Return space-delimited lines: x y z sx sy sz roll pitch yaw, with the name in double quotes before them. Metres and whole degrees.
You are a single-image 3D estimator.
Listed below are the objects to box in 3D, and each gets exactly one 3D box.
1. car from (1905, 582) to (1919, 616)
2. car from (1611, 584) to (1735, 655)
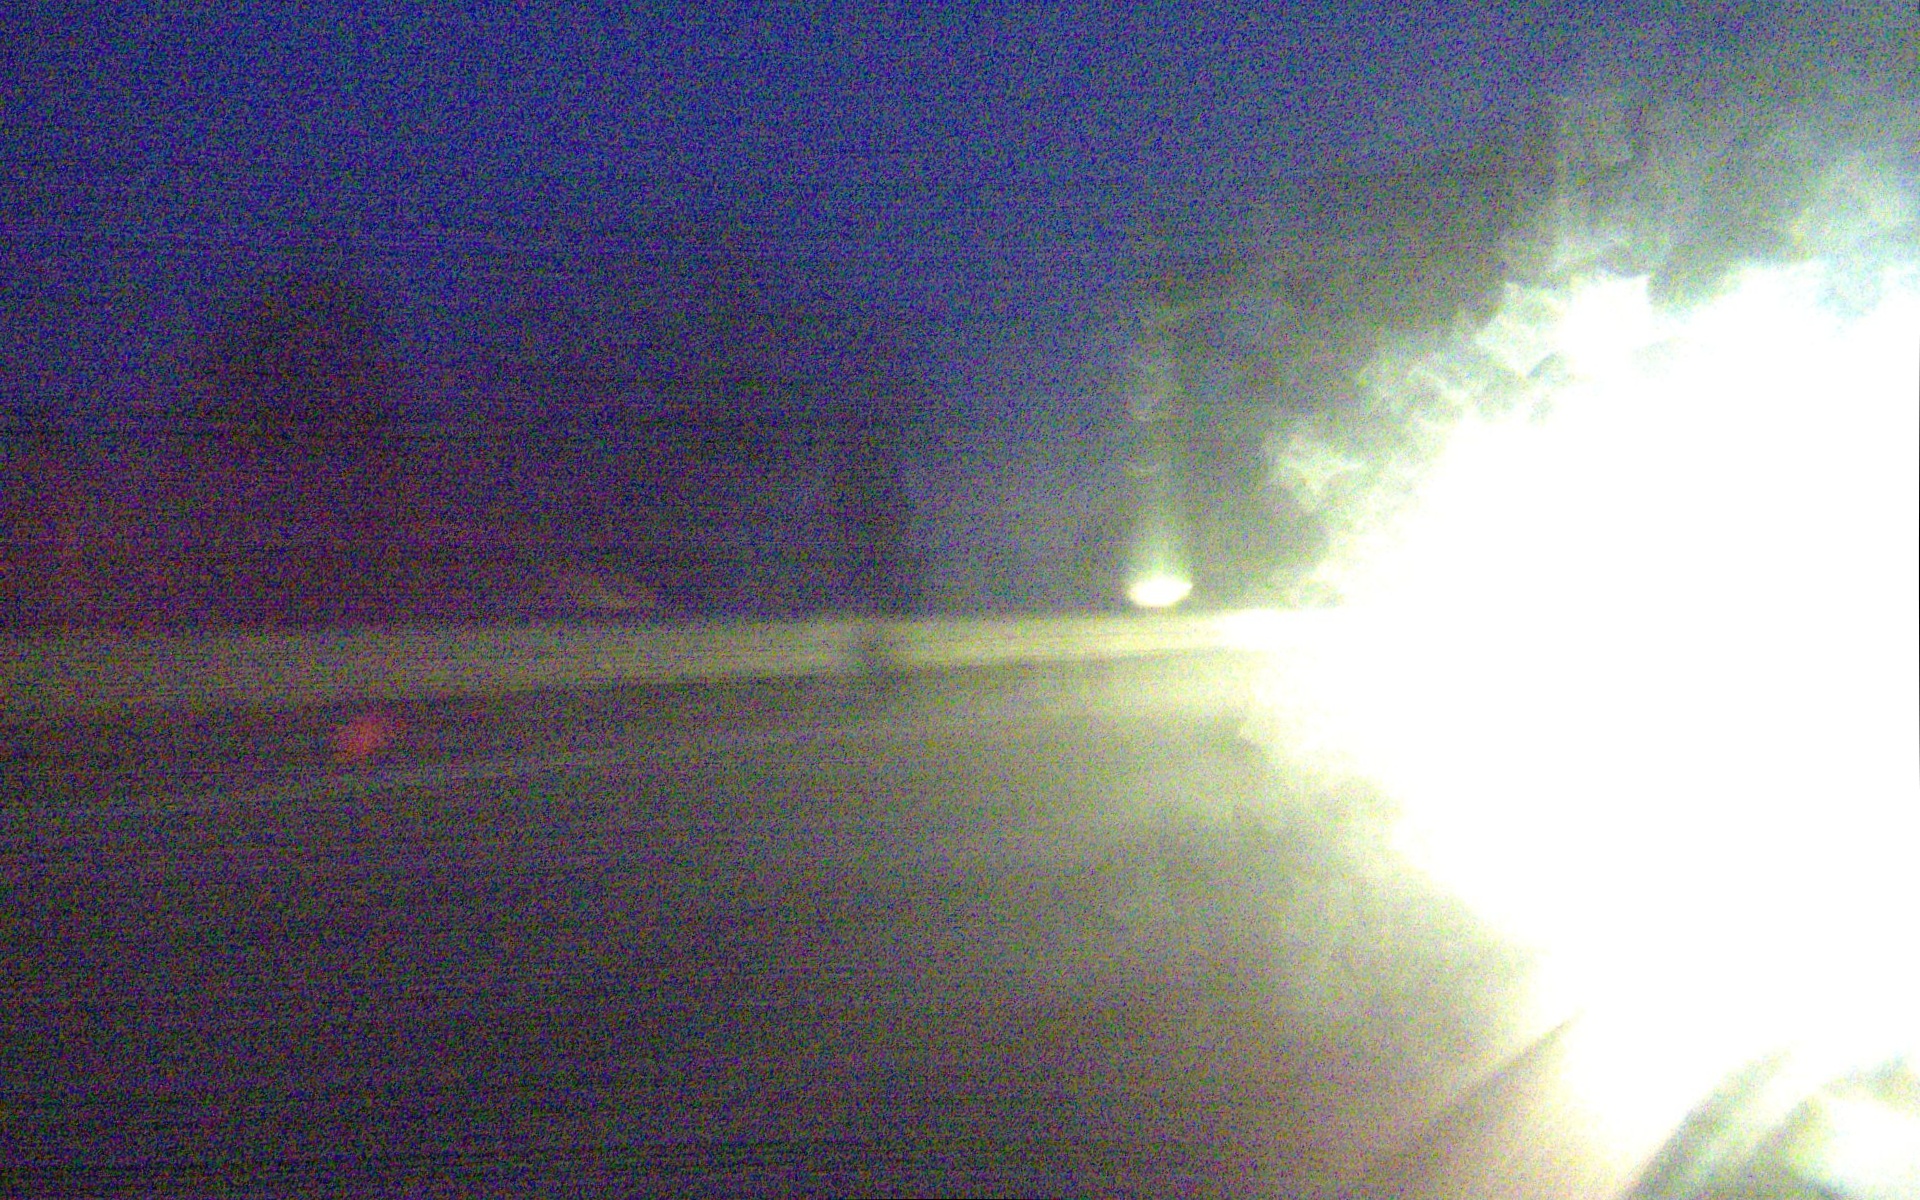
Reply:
"car" 54.989 -0.053 57.213 4.616 1.870 1.830 1 -1 -41
"car" 16.820 0.404 23.800 3.946 1.521 1.641 0 1 -44
